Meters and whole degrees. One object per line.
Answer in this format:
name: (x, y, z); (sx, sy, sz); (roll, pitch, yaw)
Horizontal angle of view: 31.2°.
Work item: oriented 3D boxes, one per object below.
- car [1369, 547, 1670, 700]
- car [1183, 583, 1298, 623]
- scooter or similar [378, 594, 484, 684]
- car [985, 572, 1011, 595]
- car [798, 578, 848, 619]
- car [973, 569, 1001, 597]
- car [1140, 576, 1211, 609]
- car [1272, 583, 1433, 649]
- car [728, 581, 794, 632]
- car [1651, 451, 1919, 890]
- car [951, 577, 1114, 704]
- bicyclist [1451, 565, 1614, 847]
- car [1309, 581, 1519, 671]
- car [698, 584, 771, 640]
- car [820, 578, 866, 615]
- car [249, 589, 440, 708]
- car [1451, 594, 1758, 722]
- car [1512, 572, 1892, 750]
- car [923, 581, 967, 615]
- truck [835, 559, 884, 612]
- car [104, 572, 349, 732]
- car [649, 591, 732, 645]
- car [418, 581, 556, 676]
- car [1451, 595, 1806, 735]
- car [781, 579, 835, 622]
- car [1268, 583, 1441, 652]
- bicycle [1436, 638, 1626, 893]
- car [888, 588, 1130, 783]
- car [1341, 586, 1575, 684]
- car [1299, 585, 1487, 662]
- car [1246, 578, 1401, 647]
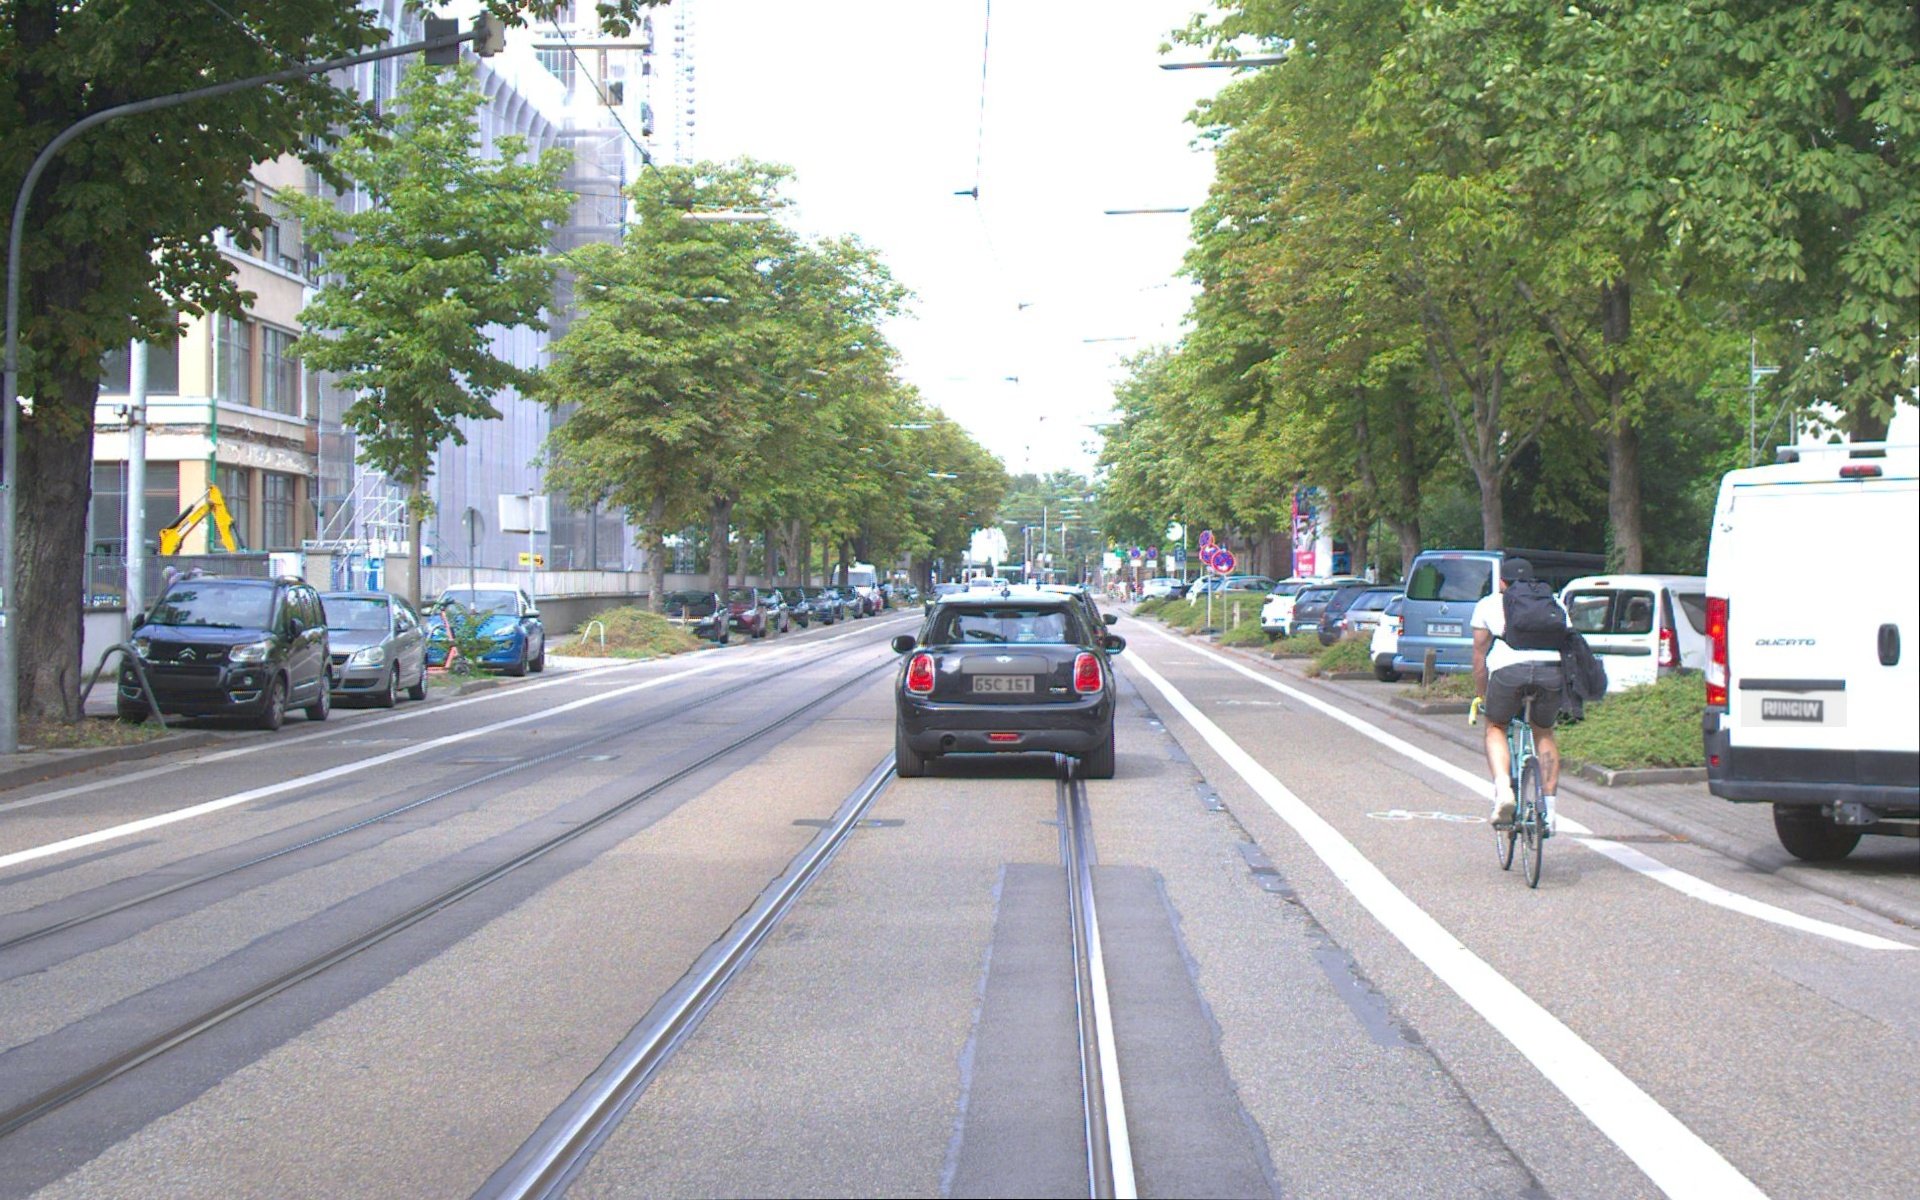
car: (7.687, 0.316, 46.997); (4.264, 2.008, 1.830); (1, 0, -43)
car: (10.234, 0.090, 125.535); (3.986, 1.420, 1.885); (0, 0, -1)
scooter or similar: (-8.046, 0.594, 52.325); (1.444, 1.339, 0.700); (-1, 0, 3)
car: (2.739, -1.181, 247.285); (1.802, 1.617, 4.484); (-1, 0, 1)
car: (-5.547, -0.068, 139.662); (1.802, 1.578, 4.031); (-1, 0, 1)
car: (1.797, -1.126, 228.266); (1.802, 1.817, 4.484); (-1, 0, 1)
car: (12.718, -0.449, 202.711); (3.987, 1.904, 2.000); (1, 0, -1)
car: (8.777, 0.341, 76.826); (3.437, 1.438, 1.560); (0, 0, -37)
car: (-6.323, 0.196, 109.743); (1.802, 1.578, 4.031); (-1, 0, 1)
car: (6.503, 0.384, 19.891); (4.945, 2.282, 2.384); (1, 0, -41)
car: (0.865, 0.472, 43.272); (1.793, 1.465, 4.000); (2, 0, -2)
bicyclist: (3.059, 0.546, 18.461); (0.657, 1.458, 1.178); (1, 0, 0)
car: (7.969, 0.448, 60.197); (3.729, 1.517, 1.639); (1, 0, -43)
car: (-6.602, 0.347, 100.878); (1.802, 1.578, 4.031); (-1, 0, 1)
car: (-5.146, -0.162, 151.061); (1.802, 1.578, 4.031); (-1, 0, 1)
car: (-7.869, 0.587, 44.262); (1.693, 1.423, 3.868); (1, 0, 1)
car: (7.641, 0.666, 40.613); (3.706, 1.428, 1.688); (1, 0, -43)
car: (7.440, 0.581, 34.260); (4.097, 1.663, 1.688); (1, 0, -44)
car: (-0.632, -0.081, 149.722); (1.835, 1.443, 4.553); (0, 0, 1)
truck: (-4.791, -0.691, 164.158); (2.071, 2.462, 4.899); (-1, 0, 1)
car: (-8.030, 0.533, 37.965); (1.756, 1.641, 4.052); (1, 0, 1)
car: (-7.046, 0.463, 90.252); (1.802, 1.369, 4.031); (-1, 0, 1)
car: (-7.742, 0.448, 56.550); (1.693, 1.482, 3.677); (1, 0, 1)
car: (7.308, 0.689, 37.415); (3.964, 1.428, 1.689); (1, 0, -41)
car: (-5.748, 0.004, 130.434); (1.802, 1.578, 4.031); (-1, 0, 1)
car: (8.468, 0.367, 73.715); (3.524, 1.438, 1.623); (0, 0, -37)
bicycle: (3.054, 0.856, 18.563); (0.657, 1.244, 2.125); (1, 0, 0)
car: (0.335, 0.636, 27.776); (1.793, 1.418, 4.000); (1, 0, -1)
car: (7.766, 0.537, 53.462); (1.639, 1.455, 3.819); (1, 0, 45)
car: (8.460, 0.451, 66.998); (3.729, 1.454, 1.639); (1, 0, -43)
car: (8.451, 0.276, 79.895); (3.437, 1.567, 1.560); (0, 0, -37)
